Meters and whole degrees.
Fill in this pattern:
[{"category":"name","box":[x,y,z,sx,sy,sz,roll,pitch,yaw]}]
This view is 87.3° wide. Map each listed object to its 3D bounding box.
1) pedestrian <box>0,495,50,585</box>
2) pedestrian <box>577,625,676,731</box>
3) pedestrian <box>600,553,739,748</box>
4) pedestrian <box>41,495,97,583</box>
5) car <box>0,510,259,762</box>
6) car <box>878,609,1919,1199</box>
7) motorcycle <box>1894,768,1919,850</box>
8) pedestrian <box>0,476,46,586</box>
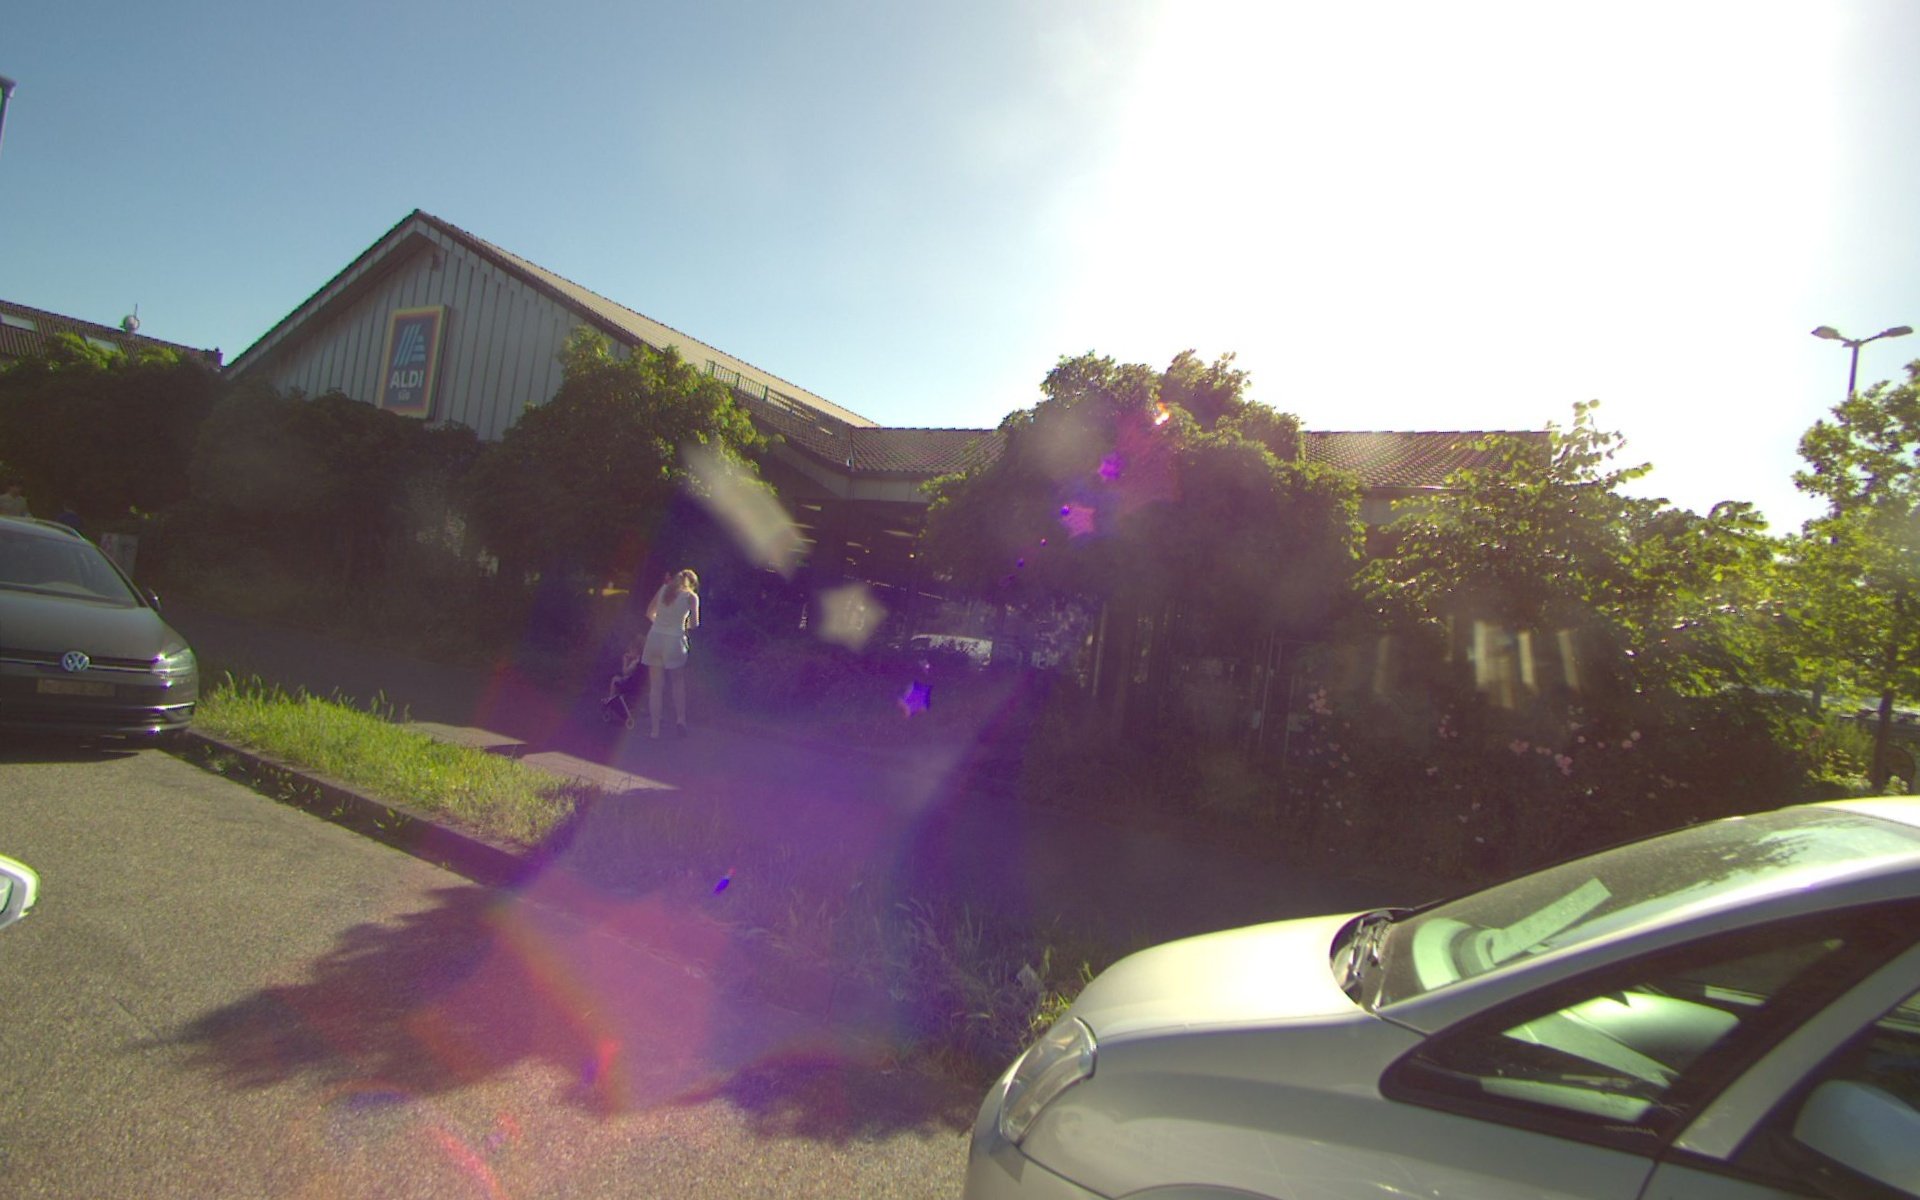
[{"category":"pedestrian","box":[-18.290,-1.166,19.604,0.538,1.655,0.567,7,-2,37]},{"category":"pedestrian","box":[-3.525,0.822,10.624,0.798,0.991,0.532,6,-3,39]},{"category":"pedestrian","box":[-2.894,0.508,10.028,0.797,1.802,0.798,7,-2,39]},{"category":"pedestrian","box":[-17.887,-1.222,20.200,0.538,1.655,0.567,7,-2,37]},{"category":"car","box":[-7.224,0.051,7.310,4.291,1.459,1.812,7,-3,32]},{"category":"car","box":[2.000,1.137,1.683,3.959,1.615,1.687,6,-5,29]},{"category":"motorcycle","box":[19.820,4.243,19.285,2.554,1.526,0.871,7,-2,32]},{"category":"pedestrian","box":[-17.339,-1.279,18.132,0.858,1.882,0.797,7,-2,24]}]
